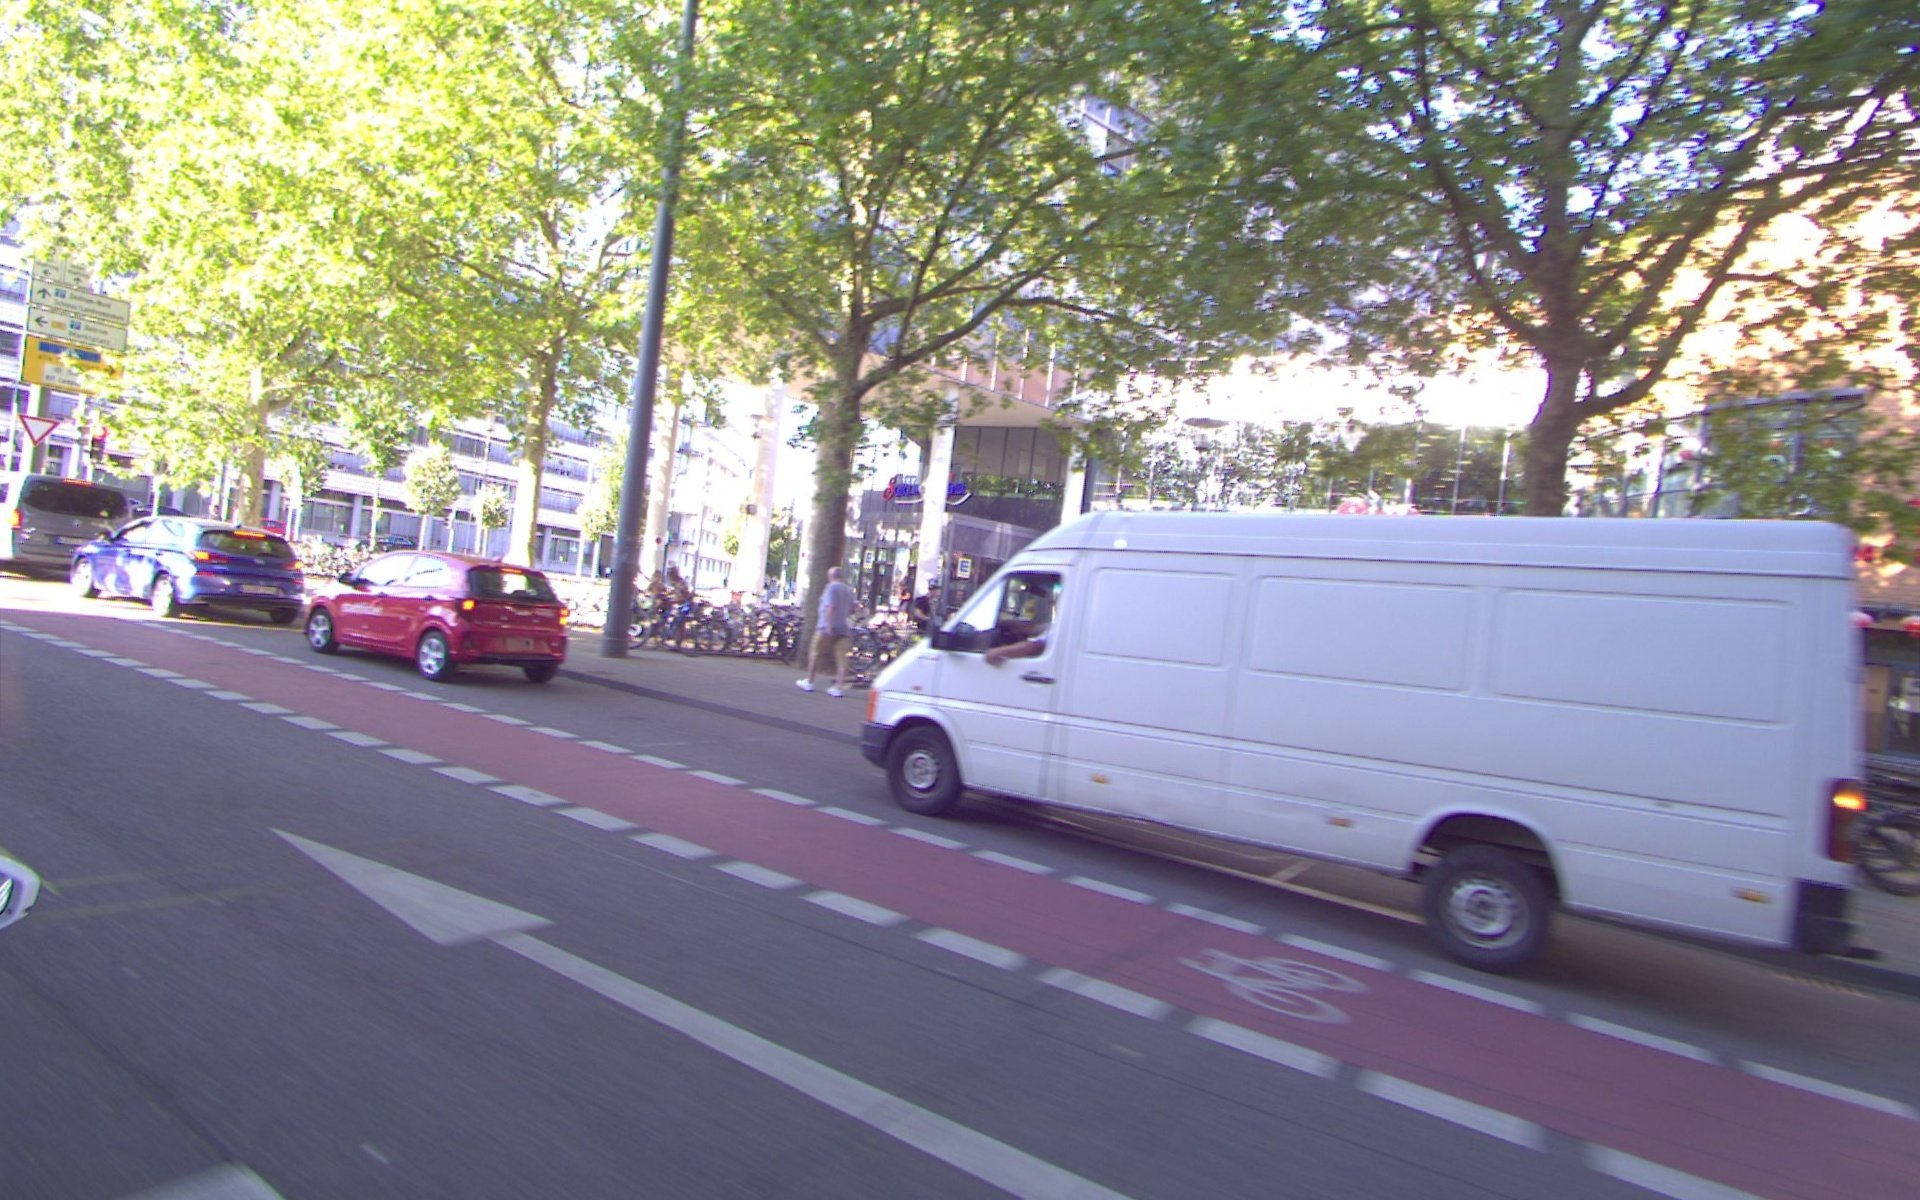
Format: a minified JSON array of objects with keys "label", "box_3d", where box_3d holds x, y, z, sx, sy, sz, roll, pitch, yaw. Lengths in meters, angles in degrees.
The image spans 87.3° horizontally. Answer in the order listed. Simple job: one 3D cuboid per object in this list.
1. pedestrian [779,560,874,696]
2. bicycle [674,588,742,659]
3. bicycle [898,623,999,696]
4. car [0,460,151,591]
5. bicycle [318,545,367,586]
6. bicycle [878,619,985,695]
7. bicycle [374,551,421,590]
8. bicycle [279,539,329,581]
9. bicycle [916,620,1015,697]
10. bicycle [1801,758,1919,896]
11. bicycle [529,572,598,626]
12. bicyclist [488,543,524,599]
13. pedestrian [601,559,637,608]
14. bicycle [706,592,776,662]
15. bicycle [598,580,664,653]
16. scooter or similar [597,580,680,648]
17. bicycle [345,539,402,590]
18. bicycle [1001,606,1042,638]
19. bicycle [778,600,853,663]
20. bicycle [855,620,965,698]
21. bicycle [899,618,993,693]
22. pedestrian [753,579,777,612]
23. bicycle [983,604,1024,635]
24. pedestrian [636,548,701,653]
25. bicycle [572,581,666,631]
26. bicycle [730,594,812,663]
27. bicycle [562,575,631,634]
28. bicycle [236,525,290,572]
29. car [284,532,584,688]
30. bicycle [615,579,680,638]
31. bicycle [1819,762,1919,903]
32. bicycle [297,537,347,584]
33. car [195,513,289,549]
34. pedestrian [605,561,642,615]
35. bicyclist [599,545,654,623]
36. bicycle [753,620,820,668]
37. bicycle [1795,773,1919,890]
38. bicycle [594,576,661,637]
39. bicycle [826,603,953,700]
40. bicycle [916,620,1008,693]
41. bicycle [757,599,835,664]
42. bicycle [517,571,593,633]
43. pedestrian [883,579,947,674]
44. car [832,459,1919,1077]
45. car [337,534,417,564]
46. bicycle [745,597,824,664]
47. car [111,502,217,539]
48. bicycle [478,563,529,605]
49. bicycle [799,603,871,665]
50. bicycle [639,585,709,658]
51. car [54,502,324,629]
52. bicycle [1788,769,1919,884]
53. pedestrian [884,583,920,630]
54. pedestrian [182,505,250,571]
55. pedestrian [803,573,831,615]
[{"label":"pedestrian","box_3d":[-1.889,0.403,14.310,0.795,1.808,0.873,7,1,29]},{"label":"bicycle","box_3d":[-4.722,0.416,18.788,0.591,1.130,1.810,6,1,-33]},{"label":"bicycle","box_3d":[-0.212,1.033,17.517,1.626,1.044,0.502,7,1,29]},{"label":"car","box_3d":[-17.808,-1.515,19.042,5.050,1.988,1.998,7,-1,30]},{"label":"bicycle","box_3d":[-17.815,-0.995,29.016,1.451,0.995,0.451,7,1,28]},{"label":"bicycle","box_3d":[-0.491,0.952,16.975,1.626,1.044,0.596,7,1,29]},{"label":"bicycle","box_3d":[-16.970,-0.895,30.343,1.451,0.995,0.451,7,1,28]},{"label":"bicycle","box_3d":[-18.150,-1.101,27.824,1.451,0.991,0.421,7,1,28]},{"label":"bicycle","box_3d":[0.085,1.034,17.989,1.626,1.151,0.502,7,1,29]},{"label":"bicycle","box_3d":[9.164,2.233,9.698,1.453,1.134,0.407,7,1,29]},{"label":"bicycle","box_3d":[-9.018,-0.017,22.881,1.544,1.039,0.461,7,1,27]},{"label":"bicyclist","box_3d":[-14.281,-0.918,31.630,0.809,1.636,0.562,7,1,36]},{"label":"pedestrian","box_3d":[-12.981,-0.616,38.278,0.851,1.701,0.849,7,-1,4]},{"label":"bicycle","box_3d":[-4.200,0.501,19.170,0.602,1.130,1.810,6,1,-33]},{"label":"bicycle","box_3d":[-5.955,0.271,18.157,0.591,1.130,1.810,6,1,-33]},{"label":"scooter or similar","box_3d":[-6.317,0.290,19.823,0.899,1.154,1.259,5,-4,16]},{"label":"bicycle","box_3d":[-17.337,-1.047,29.708,1.854,1.303,0.451,7,1,28]},{"label":"bicycle","box_3d":[2.617,0.932,42.438,0.708,1.142,1.913,7,0,36]},{"label":"bicycle","box_3d":[-3.116,0.666,21.670,1.449,1.174,0.422,7,1,21]},{"label":"bicycle","box_3d":[-0.821,0.956,16.403,1.626,1.044,0.596,7,1,29]},{"label":"bicycle","box_3d":[-0.281,1.028,18.836,1.666,1.174,0.478,7,1,34]},{"label":"pedestrian","box_3d":[-9.602,-0.220,49.497,0.763,1.460,0.705,7,1,32]},{"label":"bicycle","box_3d":[1.857,0.851,42.932,0.708,1.142,1.913,7,0,36]},{"label":"pedestrian","box_3d":[-5.301,0.010,18.294,0.801,1.808,0.651,6,1,-34]},{"label":"bicycle","box_3d":[-8.387,0.152,24.722,2.143,0.945,0.668,7,0,19]},{"label":"bicycle","box_3d":[-3.734,0.566,19.903,1.449,1.174,0.479,7,1,21]},{"label":"bicycle","box_3d":[-7.768,0.092,21.502,1.451,1.095,0.421,7,1,28]},{"label":"bicycle","box_3d":[-18.760,-1.381,27.073,1.451,1.107,0.489,7,1,28]},{"label":"car","box_3d":[-6.714,0.110,12.783,3.559,1.481,1.562,7,-1,29]},{"label":"bicycle","box_3d":[-7.092,0.188,22.795,1.451,1.174,0.421,7,1,30]},{"label":"bicycle","box_3d":[8.898,2.189,9.174,1.453,1.134,0.407,7,1,29]},{"label":"bicycle","box_3d":[-17.985,-1.122,28.356,1.451,1.159,0.451,7,1,28]},{"label":"car","box_3d":[-43.870,-4.186,61.528,1.767,1.579,4.242,7,0,35]},{"label":"pedestrian","box_3d":[-12.309,-0.413,36.812,0.851,1.841,0.849,7,-1,2]},{"label":"bicyclist","box_3d":[-8.171,-0.388,24.653,0.836,1.790,0.752,7,1,19]},{"label":"bicycle","box_3d":[-3.201,0.816,18.593,1.101,0.770,0.396,7,1,-33]},{"label":"bicycle","box_3d":[9.412,2.363,10.090,1.453,0.958,0.407,7,1,29]},{"label":"bicycle","box_3d":[-7.350,0.146,22.233,1.451,1.174,0.421,7,1,28]},{"label":"bicycle","box_3d":[-1.129,0.794,15.820,1.844,1.280,0.596,7,1,29]},{"label":"bicycle","box_3d":[0.020,1.076,19.319,1.666,1.174,0.478,7,1,34]},{"label":"bicycle","box_3d":[-3.394,0.649,20.811,1.449,1.174,0.422,7,1,21]},{"label":"bicycle","box_3d":[-8.318,0.034,20.637,1.547,1.070,0.628,7,1,36]},{"label":"pedestrian","box_3d":[-0.898,0.535,20.171,0.759,1.779,0.817,7,1,35]},{"label":"car","box_3d":[2.316,0.622,7.289,6.456,2.756,1.996,7,-1,34]},{"label":"car","box_3d":[-39.485,-3.458,68.198,1.768,1.409,4.240,7,0,37]},{"label":"bicycle","box_3d":[-3.548,0.611,20.364,1.449,1.174,0.422,7,1,21]},{"label":"car","box_3d":[-44.473,-4.408,56.259,1.767,1.409,4.243,7,0,34]},{"label":"bicycle","box_3d":[-14.383,-0.504,31.679,1.751,1.140,0.566,7,1,36]},{"label":"bicycle","box_3d":[-2.770,0.747,22.257,1.449,1.174,0.422,7,1,21]},{"label":"bicycle","box_3d":[-5.235,0.365,18.316,0.591,1.130,1.932,6,0,-33]},{"label":"car","box_3d":[-12.201,-0.558,15.885,4.144,1.482,1.768,7,0,28]},{"label":"bicycle","box_3d":[9.651,2.381,10.474,1.453,0.958,0.407,7,1,29]},{"label":"pedestrian","box_3d":[-2.216,0.242,38.377,0.850,1.662,0.967,7,1,26]},{"label":"pedestrian","box_3d":[-23.486,-1.953,31.764,1.023,1.843,1.213,7,-1,24]},{"label":"pedestrian","box_3d":[-6.064,-0.234,42.551,0.694,1.662,0.775,7,1,25]}]
